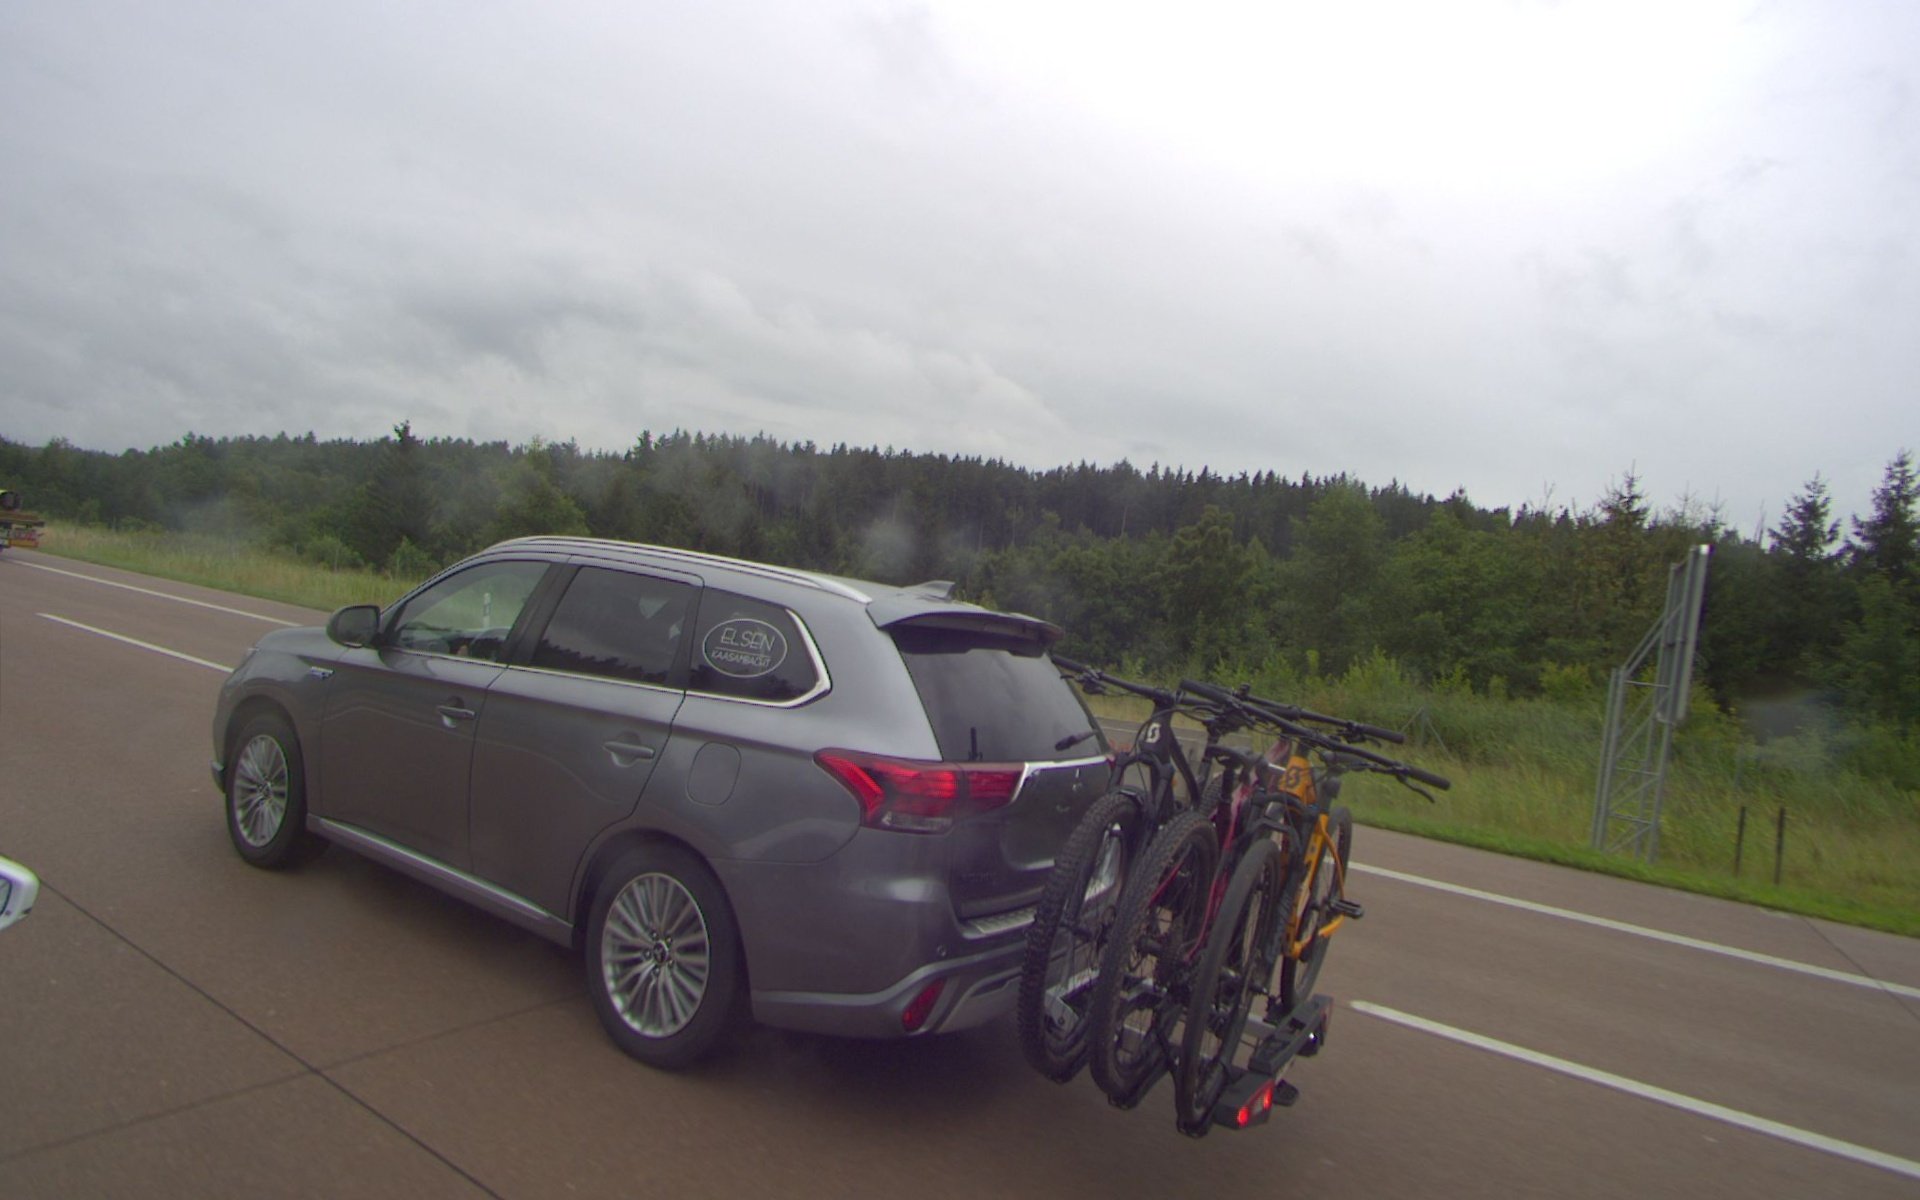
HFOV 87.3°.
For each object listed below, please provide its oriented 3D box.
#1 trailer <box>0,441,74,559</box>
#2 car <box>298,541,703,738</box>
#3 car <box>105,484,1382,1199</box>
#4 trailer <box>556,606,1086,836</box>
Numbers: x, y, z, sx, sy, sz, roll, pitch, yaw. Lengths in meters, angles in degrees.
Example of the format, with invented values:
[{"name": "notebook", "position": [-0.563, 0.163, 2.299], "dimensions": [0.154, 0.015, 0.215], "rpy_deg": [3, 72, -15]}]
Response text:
[{"name": "trailer", "position": [-28.386, -2.968, 27.664], "dimensions": [11.214, 2.706, 2.886], "rpy_deg": [5, -3, 33]}, {"name": "car", "position": [-5.404, 0.373, 11.578], "dimensions": [4.895, 1.630, 1.700], "rpy_deg": [5, -1, 32]}, {"name": "car", "position": [-1.380, 0.527, 4.541], "dimensions": [5.724, 1.610, 1.998], "rpy_deg": [5, -3, 32]}, {"name": "trailer", "position": [-1.387, 0.981, 9.280], "dimensions": [4.563, 1.180, 1.975], "rpy_deg": [7, -2, 32]}]
